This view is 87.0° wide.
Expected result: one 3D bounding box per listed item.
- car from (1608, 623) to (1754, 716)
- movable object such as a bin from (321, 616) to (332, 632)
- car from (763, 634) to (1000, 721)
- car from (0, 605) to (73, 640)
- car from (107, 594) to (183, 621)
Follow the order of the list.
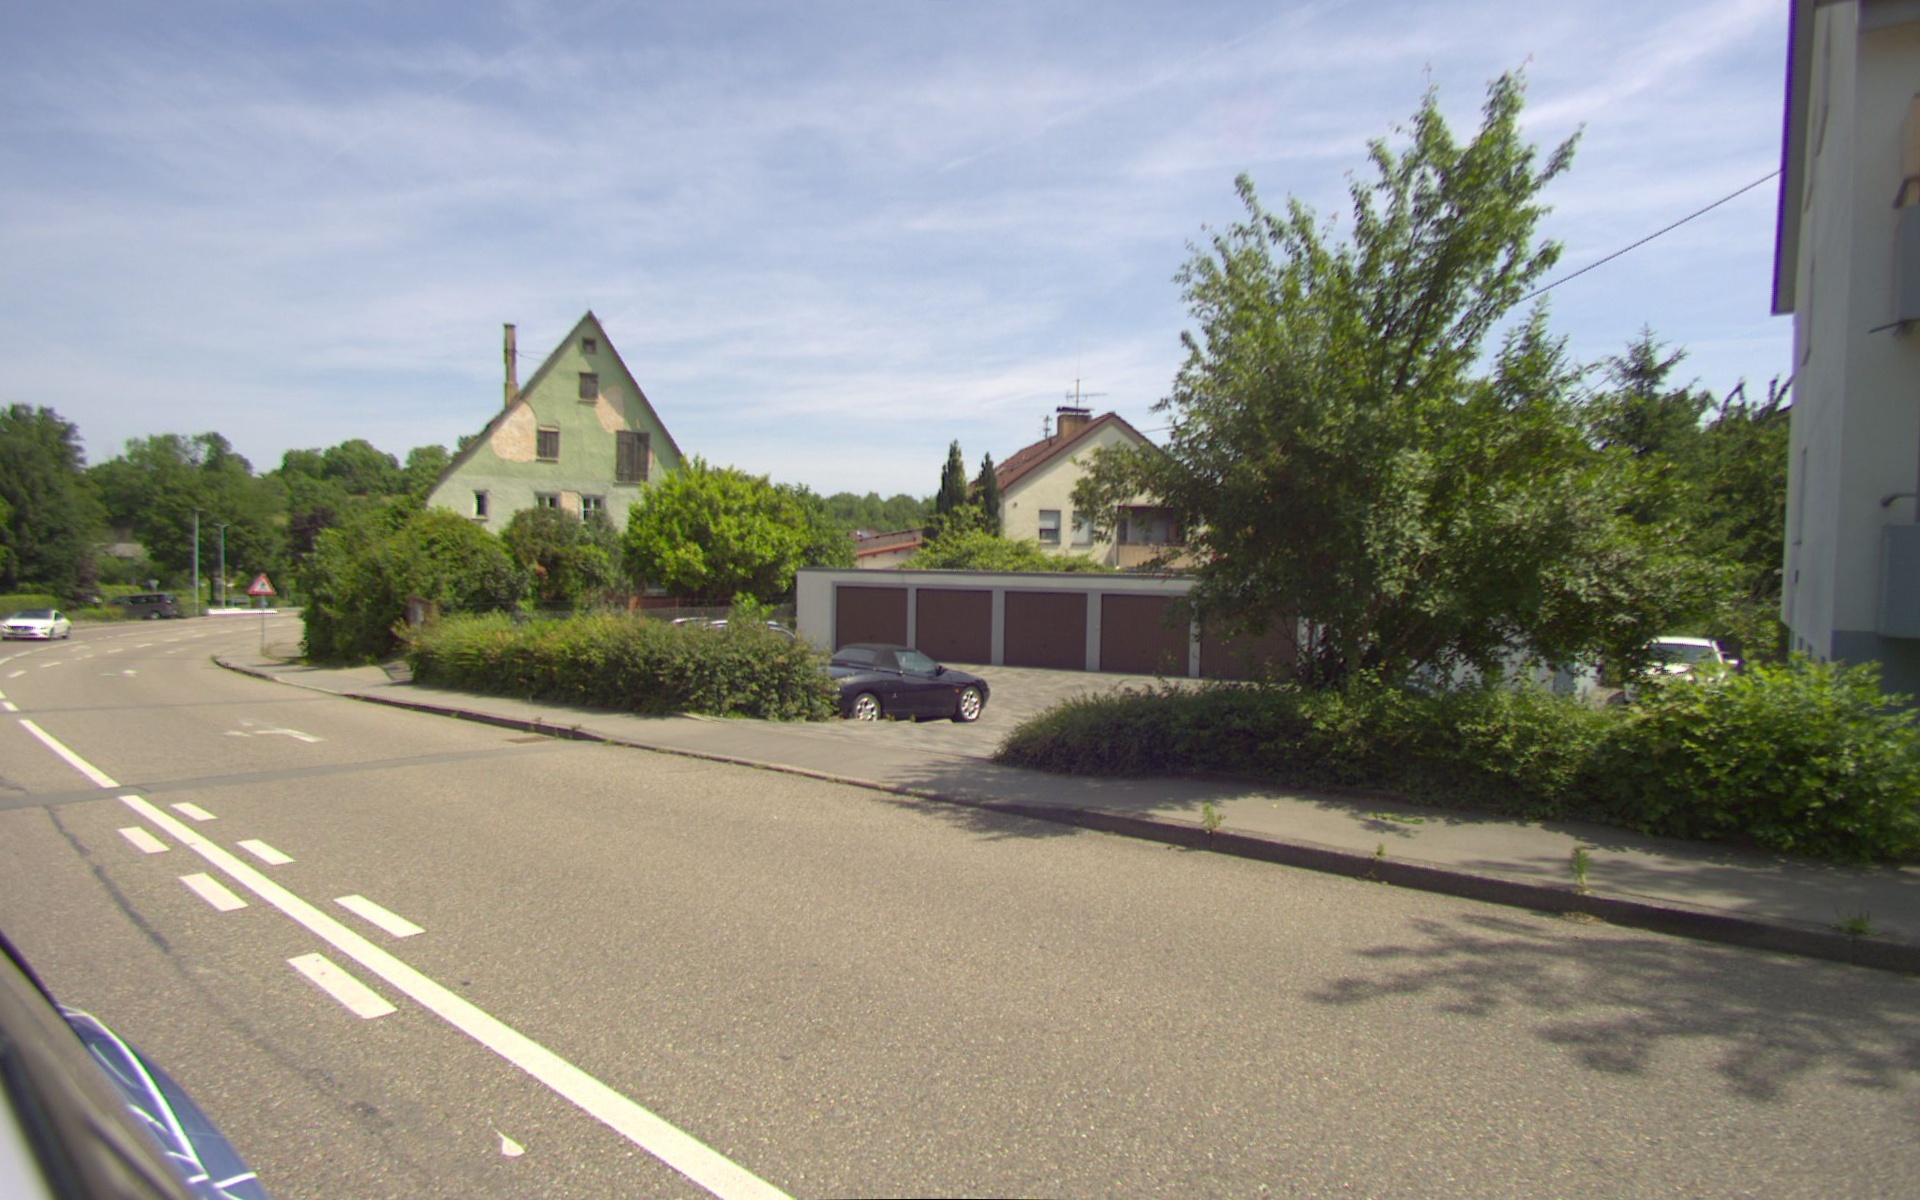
[{"bbox_3d":[15.511,1.382,21.690,2.000,1.475,4.219,4,4,42],"label":"car"},{"bbox_3d":[-43.824,1.648,69.957,0.545,1.090,0.542,0,-1,-43],"label":"movable object such as a bin"},{"bbox_3d":[-1.199,1.338,16.934,1.645,1.256,3.916,-1,-6,40],"label":"car"},{"bbox_3d":[-43.463,1.038,47.452,1.796,1.564,4.013,1,-1,-26],"label":"car"},{"bbox_3d":[-59.711,0.533,74.221,3.844,1.964,1.961,0,-1,-17],"label":"car"}]
